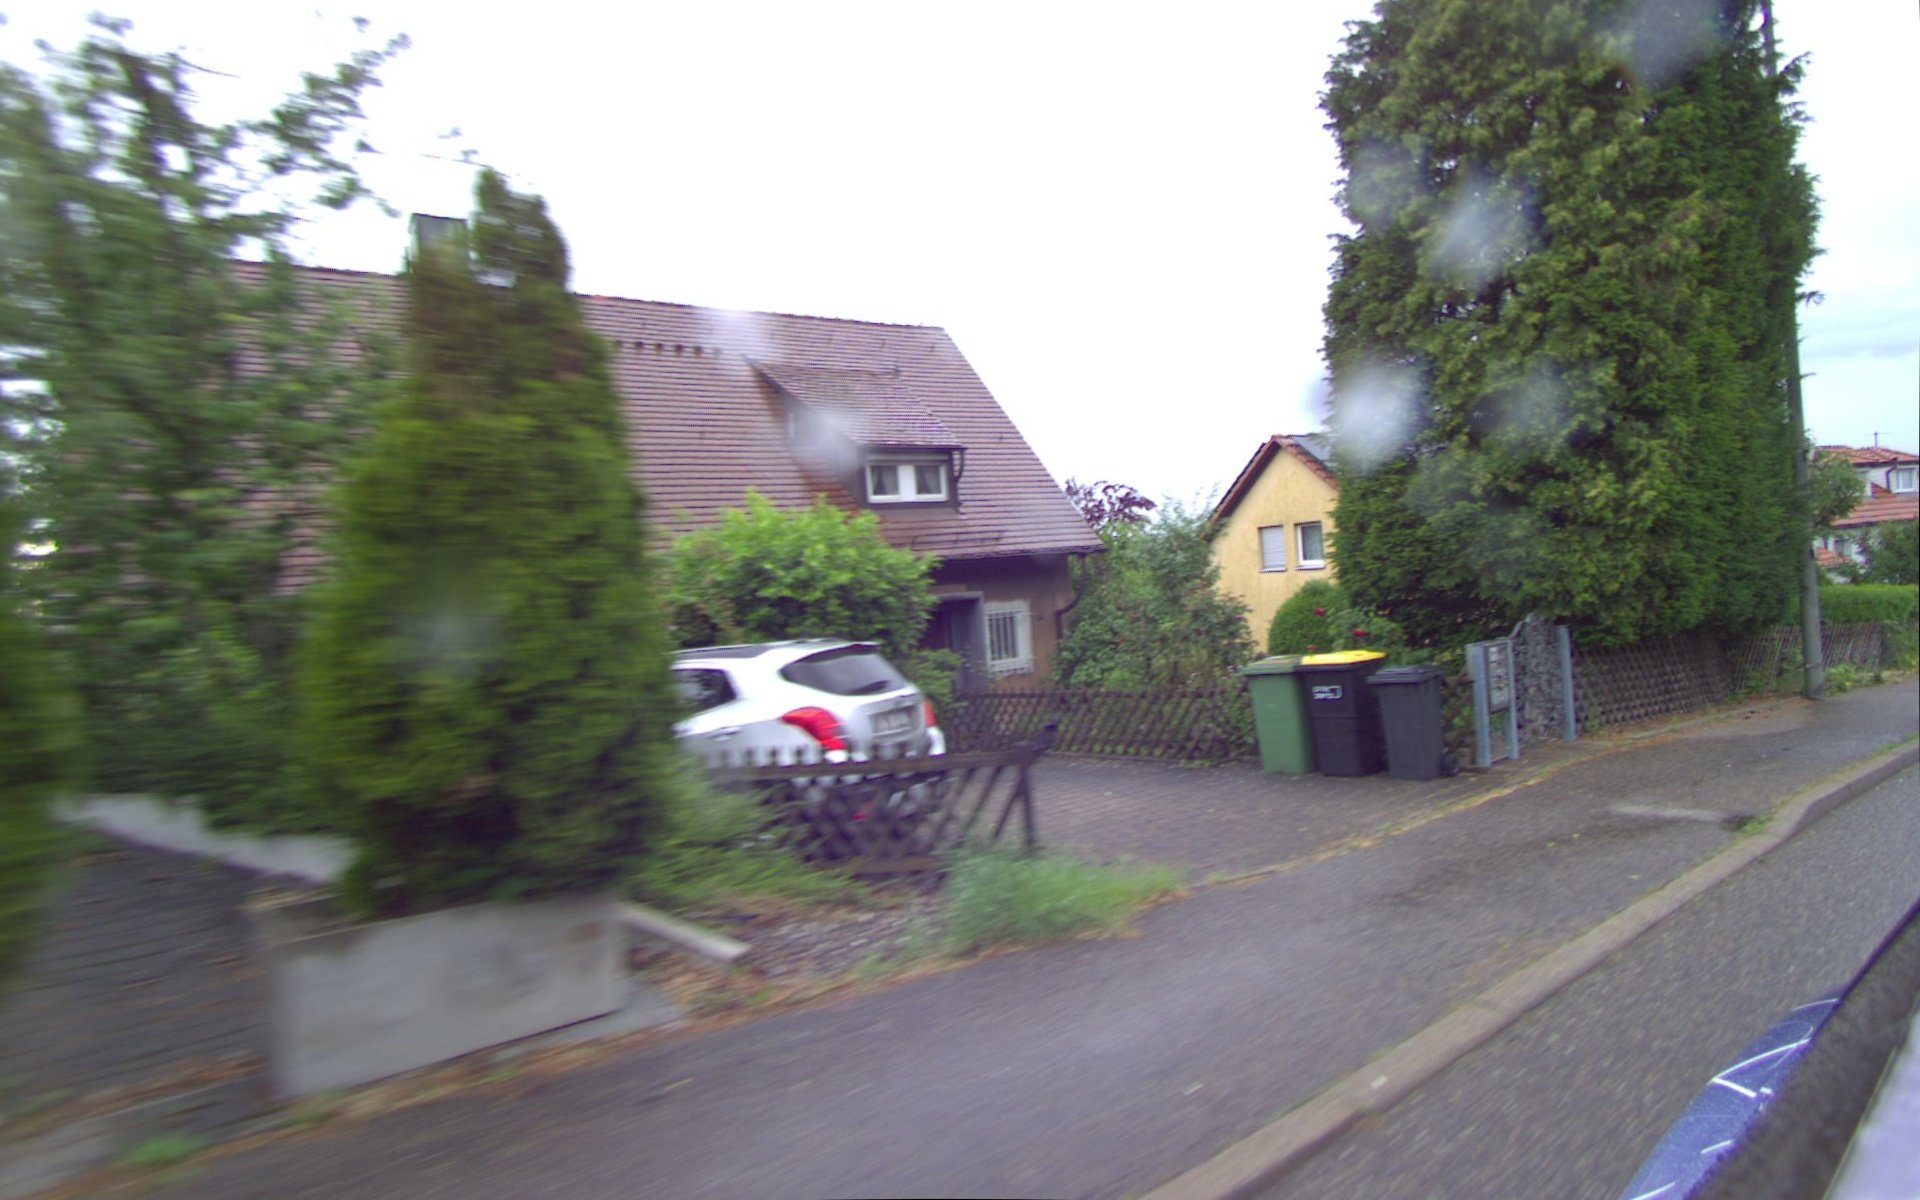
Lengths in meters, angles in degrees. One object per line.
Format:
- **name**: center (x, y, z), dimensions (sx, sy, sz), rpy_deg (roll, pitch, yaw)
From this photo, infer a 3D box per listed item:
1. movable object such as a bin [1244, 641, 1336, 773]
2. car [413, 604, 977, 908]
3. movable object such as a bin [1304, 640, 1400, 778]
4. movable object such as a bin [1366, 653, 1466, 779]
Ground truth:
- **movable object such as a bin**: center (3.068, 0.975, 9.415), dimensions (0.584, 1.153, 0.523), rpy_deg (0, -4, -41)
- **car**: center (-2.002, 1.131, 7.609), dimensions (3.735, 1.680, 1.762), rpy_deg (-7, 1, 26)
- **movable object such as a bin**: center (3.437, 0.935, 8.875), dimensions (0.584, 1.132, 0.505), rpy_deg (0, -4, -41)
- **movable object such as a bin**: center (3.806, 0.949, 8.450), dimensions (0.584, 0.982, 0.505), rpy_deg (0, -4, -41)
